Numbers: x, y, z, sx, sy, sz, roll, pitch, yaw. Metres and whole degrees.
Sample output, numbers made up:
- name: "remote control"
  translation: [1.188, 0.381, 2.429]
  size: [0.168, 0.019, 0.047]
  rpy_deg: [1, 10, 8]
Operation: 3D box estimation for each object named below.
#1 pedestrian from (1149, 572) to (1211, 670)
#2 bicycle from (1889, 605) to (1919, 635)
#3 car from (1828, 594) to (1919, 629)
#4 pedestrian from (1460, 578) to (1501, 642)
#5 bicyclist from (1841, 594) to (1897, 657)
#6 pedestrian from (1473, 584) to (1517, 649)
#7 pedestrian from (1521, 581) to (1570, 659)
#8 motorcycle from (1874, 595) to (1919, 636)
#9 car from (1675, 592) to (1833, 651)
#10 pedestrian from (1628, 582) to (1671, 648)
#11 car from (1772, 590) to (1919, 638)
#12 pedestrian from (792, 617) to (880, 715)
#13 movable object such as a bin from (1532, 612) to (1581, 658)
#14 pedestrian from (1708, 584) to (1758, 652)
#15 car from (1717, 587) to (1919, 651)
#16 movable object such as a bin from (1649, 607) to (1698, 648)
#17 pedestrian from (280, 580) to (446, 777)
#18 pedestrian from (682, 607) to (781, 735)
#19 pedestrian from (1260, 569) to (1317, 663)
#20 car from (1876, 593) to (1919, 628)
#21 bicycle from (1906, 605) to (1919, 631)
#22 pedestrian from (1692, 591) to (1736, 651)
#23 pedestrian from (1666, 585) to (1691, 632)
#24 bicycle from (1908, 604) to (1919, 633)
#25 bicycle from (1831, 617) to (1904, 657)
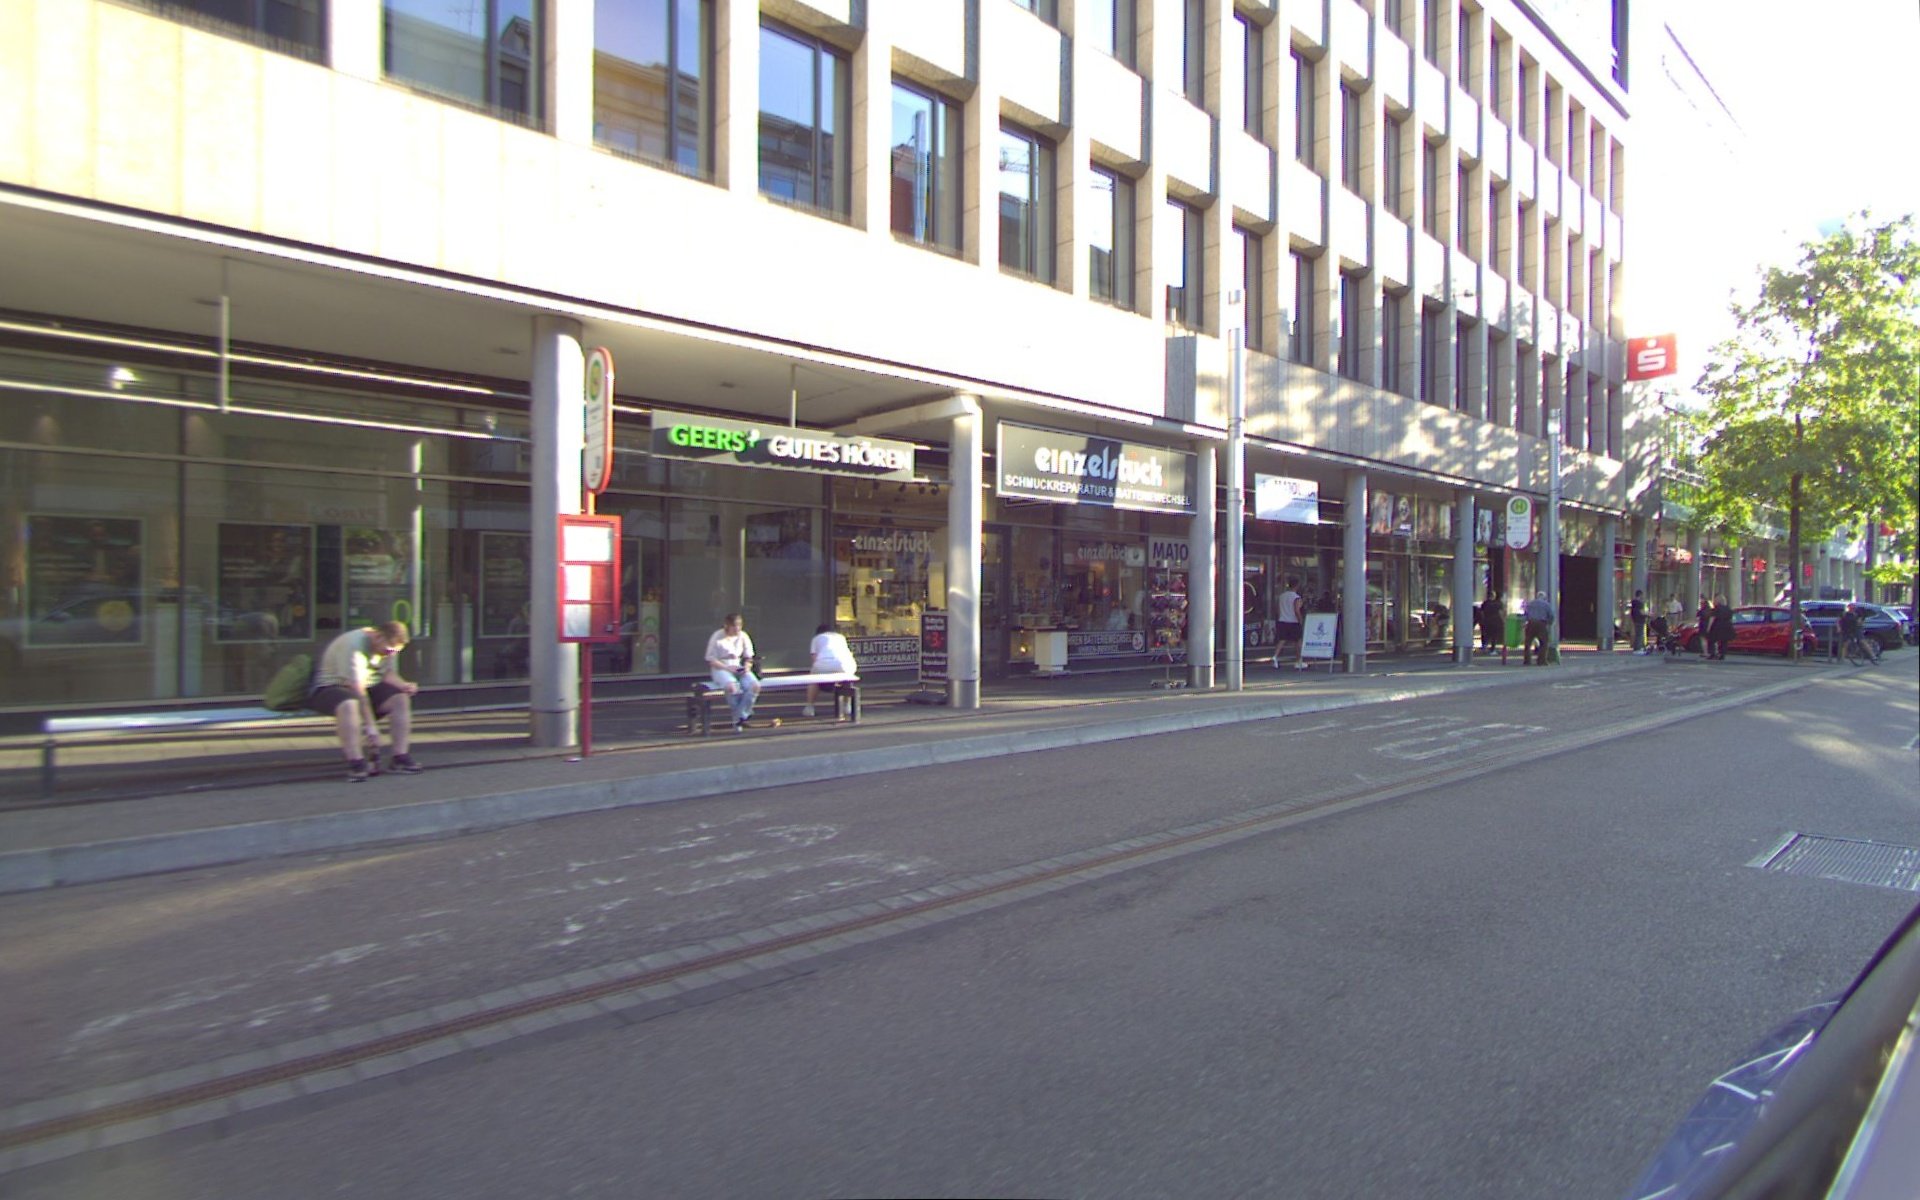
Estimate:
- name: "pedestrian"
  translation: [4.012, 0.368, 18.441]
  size: [0.842, 1.722, 0.745]
  rpy_deg: [0, -1, -40]
- name: "bicycle"
  translation: [38.860, 0.820, 40.806]
  size: [1.874, 1.133, 0.663]
  rpy_deg: [2, 2, 21]
- name: "car"
  translation: [45.152, 0.573, 48.437]
  size: [4.986, 1.487, 1.970]
  rpy_deg: [3, 2, 14]
- name: "pedestrian"
  translation: [14.964, 0.290, 29.098]
  size: [0.768, 1.807, 0.846]
  rpy_deg: [0, 0, -40]
- name: "bicyclist"
  translation: [24.001, 0.661, 26.720]
  size: [0.894, 1.634, 0.781]
  rpy_deg: [0, -2, -27]
- name: "pedestrian"
  translation: [13.485, 0.402, 25.501]
  size: [0.909, 1.609, 0.697]
  rpy_deg: [0, 0, -40]
- name: "pedestrian"
  translation: [12.276, 0.412, 21.234]
  size: [0.621, 1.593, 0.682]
  rpy_deg: [0, -2, -40]
- name: "motorcycle"
  translation: [37.652, 0.607, 39.884]
  size: [2.279, 1.528, 0.858]
  rpy_deg: [2, 2, 6]
- name: "car"
  translation: [23.158, 0.580, 29.672]
  size: [3.370, 1.499, 1.650]
  rpy_deg: [3, 2, 30]
- name: "pedestrian"
  translation: [18.944, 0.401, 27.809]
  size: [0.621, 1.753, 0.689]
  rpy_deg: [2, 1, 1]
- name: "car"
  translation: [34.214, 0.517, 38.956]
  size: [4.103, 1.590, 1.845]
  rpy_deg: [2, 2, 17]
- name: "pedestrian"
  translation: [-1.413, 0.723, 11.486]
  size: [0.683, 1.044, 0.838]
  rpy_deg: [0, -1, -36]
- name: "movable object such as a bin"
  translation: [12.694, 0.736, 21.534]
  size: [0.705, 0.936, 0.691]
  rpy_deg: [0, -2, -40]
- name: "pedestrian"
  translation: [20.109, 0.452, 26.323]
  size: [0.682, 1.706, 0.682]
  rpy_deg: [1, 1, -7]
- name: "car"
  translation: [26.028, 0.541, 30.878]
  size: [4.300, 1.672, 1.685]
  rpy_deg: [2, 2, 19]
- name: "movable object such as a bin"
  translation: [19.587, 0.752, 27.799]
  size: [0.818, 1.077, 0.689]
  rpy_deg: [2, 2, 1]
- name: "pedestrian"
  translation: [-4.522, 0.555, 7.688]
  size: [0.828, 1.395, 0.770]
  rpy_deg: [0, -1, 27]
- name: "pedestrian"
  translation: [-2.290, 0.679, 10.140]
  size: [0.770, 1.213, 0.668]
  rpy_deg: [0, -1, -36]
- name: "pedestrian"
  translation: [6.529, 0.317, 20.120]
  size: [0.842, 1.815, 0.745]
  rpy_deg: [0, -1, -40]
- name: "car"
  translation: [52.581, 0.616, 54.288]
  size: [4.610, 1.785, 1.982]
  rpy_deg: [3, 2, 21]
- name: "bicycle"
  translation: [41.961, 0.832, 43.554]
  size: [1.544, 1.102, 0.864]
  rpy_deg: [3, 1, 19]
- name: "pedestrian"
  translation: [20.447, 0.553, 27.450]
  size: [0.677, 1.571, 0.607]
  rpy_deg: [2, 1, 3]
- name: "pedestrian"
  translation: [27.694, 0.323, 39.020]
  size: [0.589, 1.765, 0.626]
  rpy_deg: [0, 1, -38]
- name: "bicycle"
  translation: [40.500, 0.786, 42.057]
  size: [1.662, 1.177, 0.481]
  rpy_deg: [2, 2, -1]
- name: "bicycle"
  translation: [23.901, 0.958, 26.659]
  size: [2.016, 1.008, 0.721]
  rpy_deg: [0, -2, -27]
